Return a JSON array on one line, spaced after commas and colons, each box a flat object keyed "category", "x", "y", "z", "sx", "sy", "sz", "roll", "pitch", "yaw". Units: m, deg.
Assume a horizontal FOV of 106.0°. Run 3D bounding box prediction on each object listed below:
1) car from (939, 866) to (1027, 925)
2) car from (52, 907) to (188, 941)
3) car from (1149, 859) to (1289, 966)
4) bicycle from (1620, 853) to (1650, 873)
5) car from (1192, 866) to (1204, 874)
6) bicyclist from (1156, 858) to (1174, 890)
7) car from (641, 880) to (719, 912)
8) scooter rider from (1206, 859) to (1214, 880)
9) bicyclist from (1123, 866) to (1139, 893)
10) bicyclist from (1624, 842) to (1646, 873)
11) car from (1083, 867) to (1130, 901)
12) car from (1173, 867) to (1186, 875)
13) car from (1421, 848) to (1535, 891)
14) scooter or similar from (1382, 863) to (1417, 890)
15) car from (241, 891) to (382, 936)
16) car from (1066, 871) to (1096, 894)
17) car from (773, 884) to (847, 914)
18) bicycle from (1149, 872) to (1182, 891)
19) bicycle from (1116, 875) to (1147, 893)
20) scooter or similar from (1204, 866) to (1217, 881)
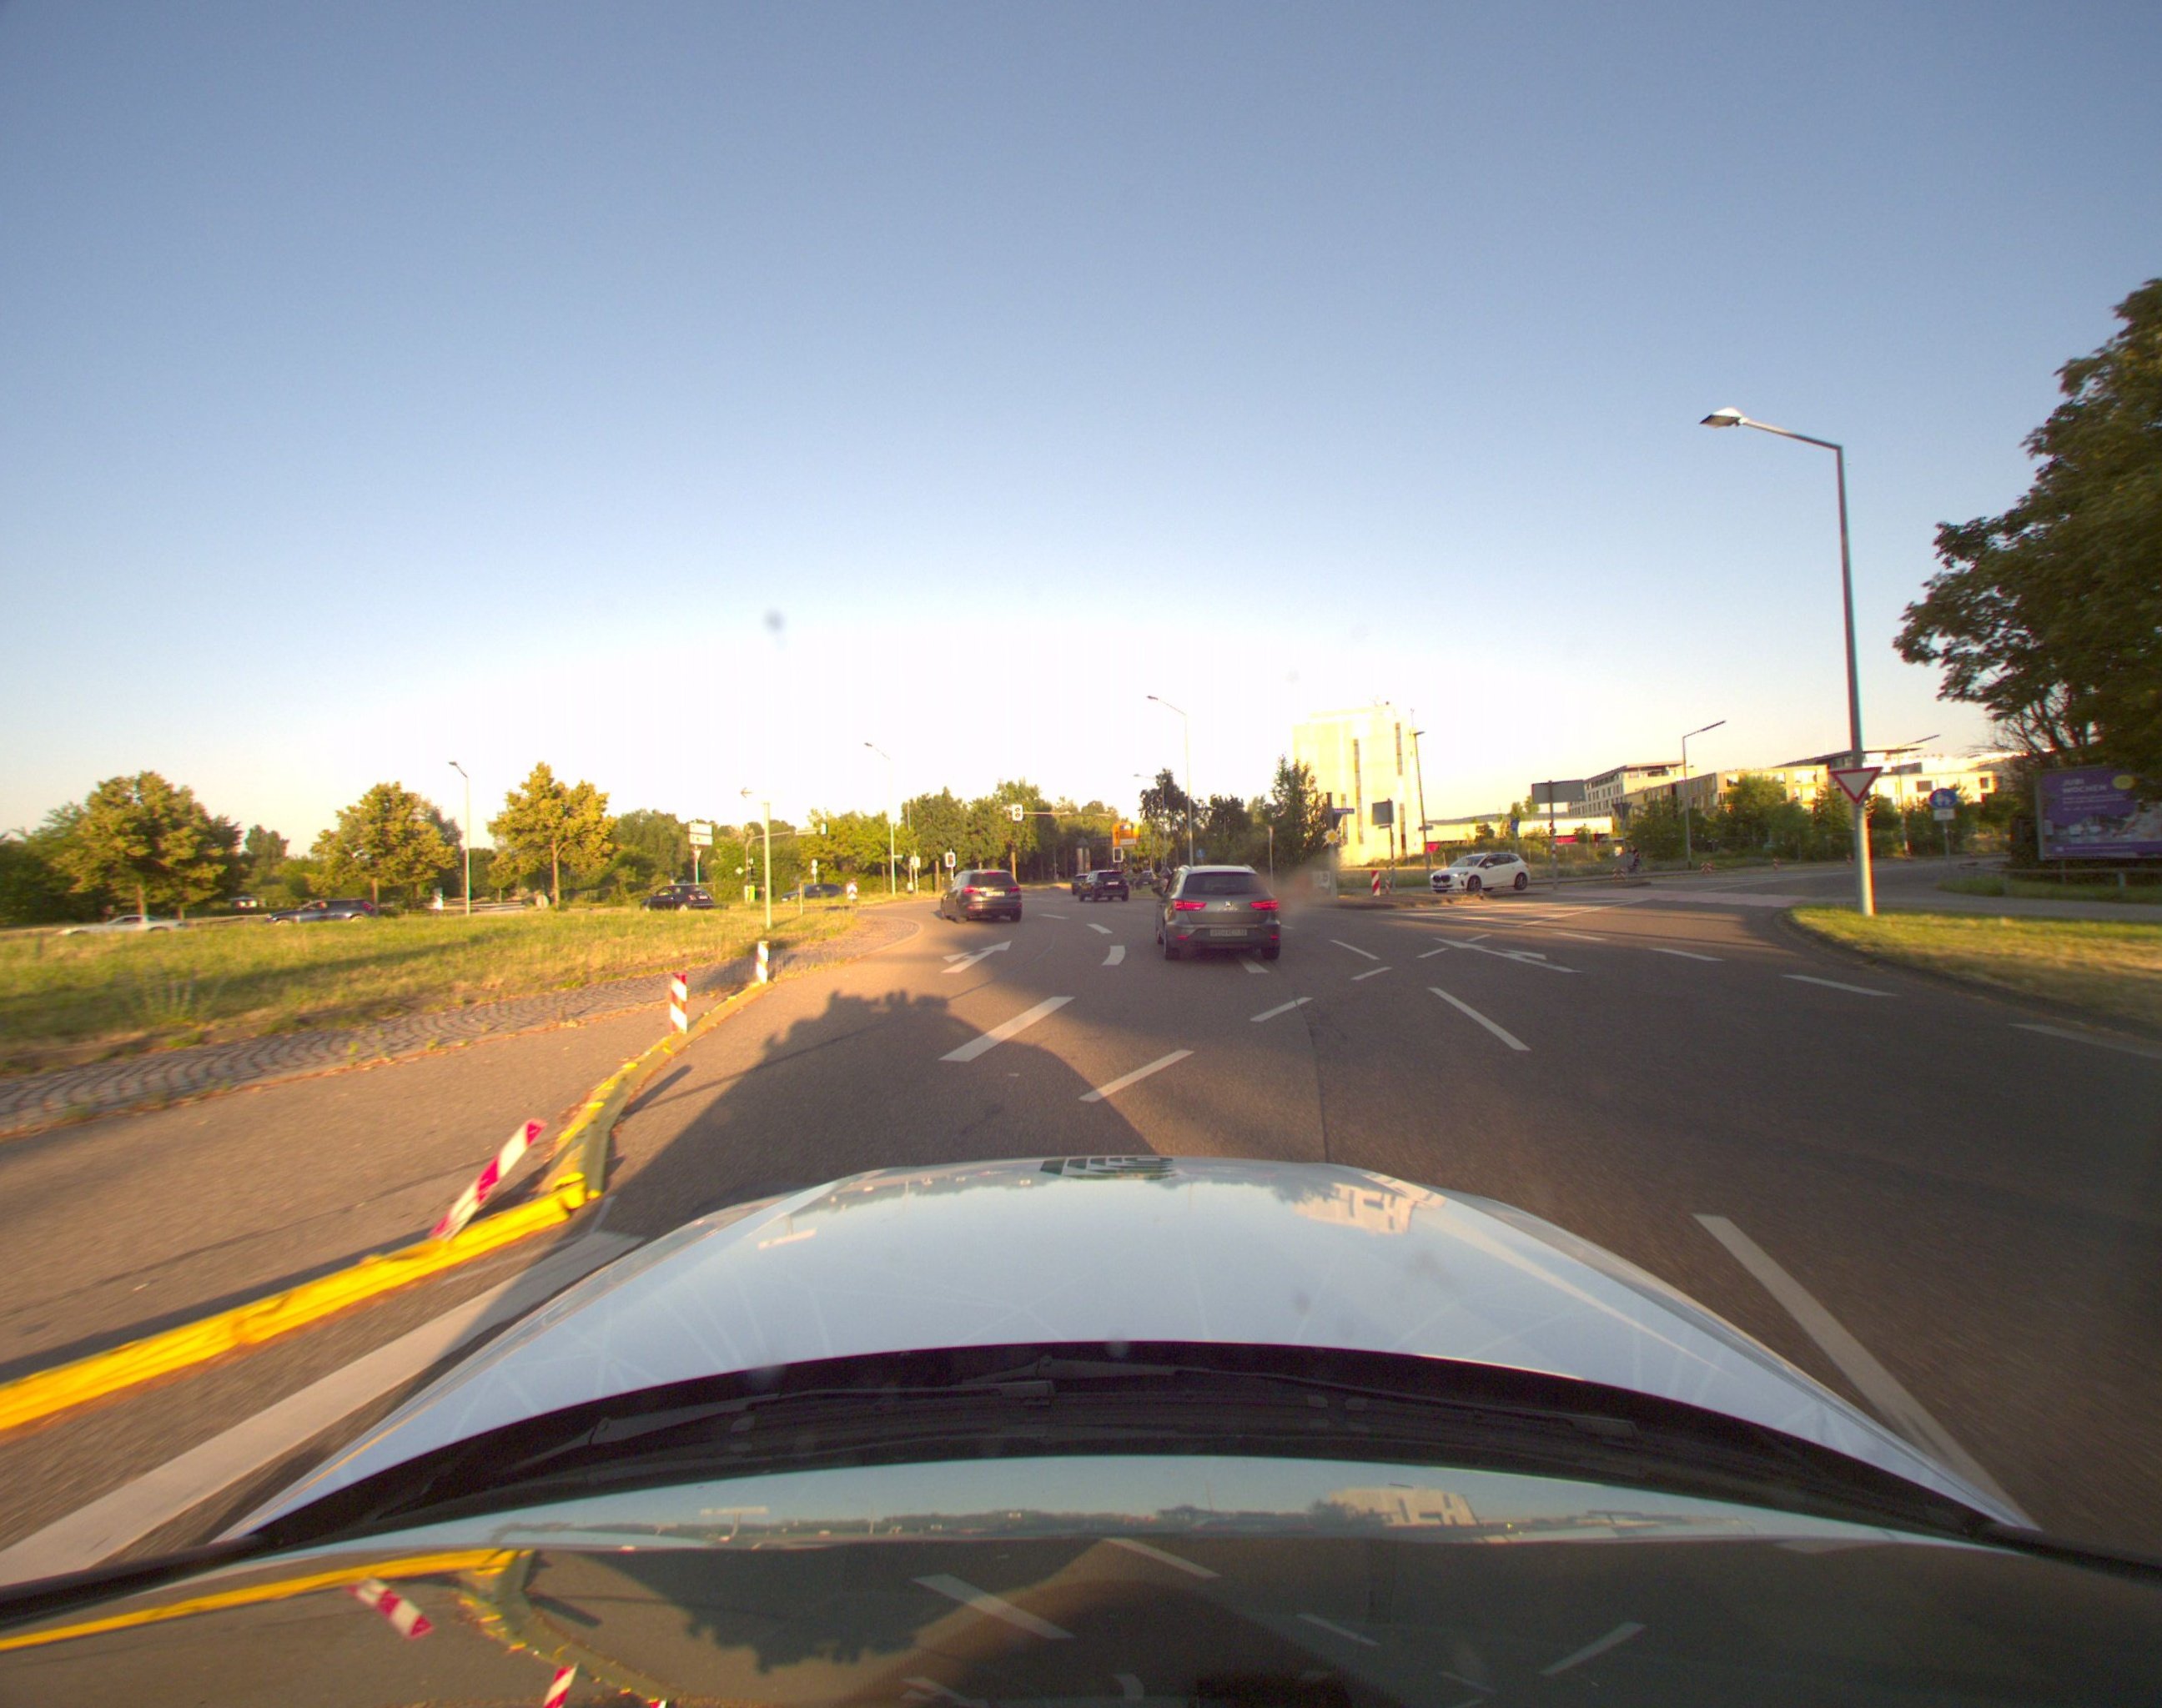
[{"category": "car", "x": -2.935, "y": 1.137, "z": 23.585, "sx": 1.750, "sy": 1.466, "sz": 4.109, "roll": -2, "pitch": -1, "yaw": -18}, {"category": "car", "x": -43.616, "y": 3.152, "z": 37.090, "sx": 3.801, "sy": 1.255, "sz": 1.560, "roll": 1, "pitch": -2, "yaw": -42}, {"category": "car", "x": 2.090, "y": 0.838, "z": 13.414, "sx": 1.739, "sy": 1.424, "sz": 4.137, "roll": -2, "pitch": -1, "yaw": 3}, {"category": "bicycle", "x": 32.034, "y": 0.514, "z": 47.105, "sx": 0.281, "sy": 1.089, "sz": 1.358, "roll": -1, "pitch": -2, "yaw": -32}, {"category": "car", "x": 26.721, "y": 3.597, "z": 186.306, "sx": 1.783, "sy": 1.633, "sz": 4.477, "roll": -4, "pitch": -2, "yaw": 19}, {"category": "bicyclist", "x": 5.234, "y": 1.234, "z": 50.667, "sx": 0.900, "sy": 1.898, "sz": 0.644, "roll": -4, "pitch": -2, "yaw": 16}, {"category": "car", "x": -19.791, "y": 2.075, "z": 40.153, "sx": 4.081, "sy": 1.446, "sz": 1.763, "roll": -3, "pitch": -1, "yaw": 36}, {"category": "scooter rider", "x": 8.074, "y": 0.963, "z": 50.988, "sx": 0.265, "sy": 1.339, "sz": 0.402, "roll": -1, "pitch": -1, "yaw": -29}, {"category": "bicyclist", "x": 3.329, "y": 1.673, "z": 54.038, "sx": 0.762, "sy": 1.702, "sz": 0.644, "roll": -5, "pitch": -2, "yaw": 16}, {"category": "bicyclist", "x": 32.017, "y": 0.202, "z": 47.039, "sx": 0.539, "sy": 1.744, "sz": 0.835, "roll": -1, "pitch": -2, "yaw": -33}, {"category": "car", "x": 1.218, "y": 1.452, "z": 40.707, "sx": 1.810, "sy": 1.525, "sz": 4.126, "roll": -2, "pitch": -1, "yaw": -6}, {"category": "car", "x": 20.038, "y": 3.463, "z": 165.874, "sx": 1.708, "sy": 1.449, "sz": 4.570, "roll": -2, "pitch": -1, "yaw": 17}, {"category": "car", "x": 16.079, "y": 0.623, "z": 32.986, "sx": 4.101, "sy": 1.558, "sz": 1.876, "roll": -1, "pitch": -2, "yaw": -24}, {"category": "scooter or similar", "x": 13.905, "y": 0.974, "z": 35.575, "sx": 0.444, "sy": 1.163, "sz": 1.368, "roll": -1, "pitch": -1, "yaw": -36}, {"category": "car", "x": -36.007, "y": 2.752, "z": 38.300, "sx": 4.619, "sy": 1.748, "sz": 1.731, "roll": -1, "pitch": -1, "yaw": -38}, {"category": "car", "x": 0.037, "y": 2.080, "z": 59.877, "sx": 1.737, "sy": 1.489, "sz": 4.141, "roll": -2, "pitch": -1, "yaw": 6}, {"category": "car", "x": -18.212, "y": 2.976, "z": 54.935, "sx": 1.729, "sy": 1.748, "sz": 4.627, "roll": -3, "pitch": -1, "yaw": 35}, {"category": "bicycle", "x": 5.274, "y": 1.698, "z": 50.722, "sx": 1.907, "sy": 1.085, "sz": 0.458, "roll": -4, "pitch": -2, "yaw": 16}, {"category": "bicycle", "x": 3.376, "y": 1.988, "z": 53.955, "sx": 1.907, "sy": 1.085, "sz": 0.458, "roll": -5, "pitch": -2, "yaw": 16}, {"category": "scooter or similar", "x": 8.110, "y": 1.231, "z": 51.004, "sx": 0.248, "sy": 0.914, "sz": 1.029, "roll": -1, "pitch": -1, "yaw": -29}]
